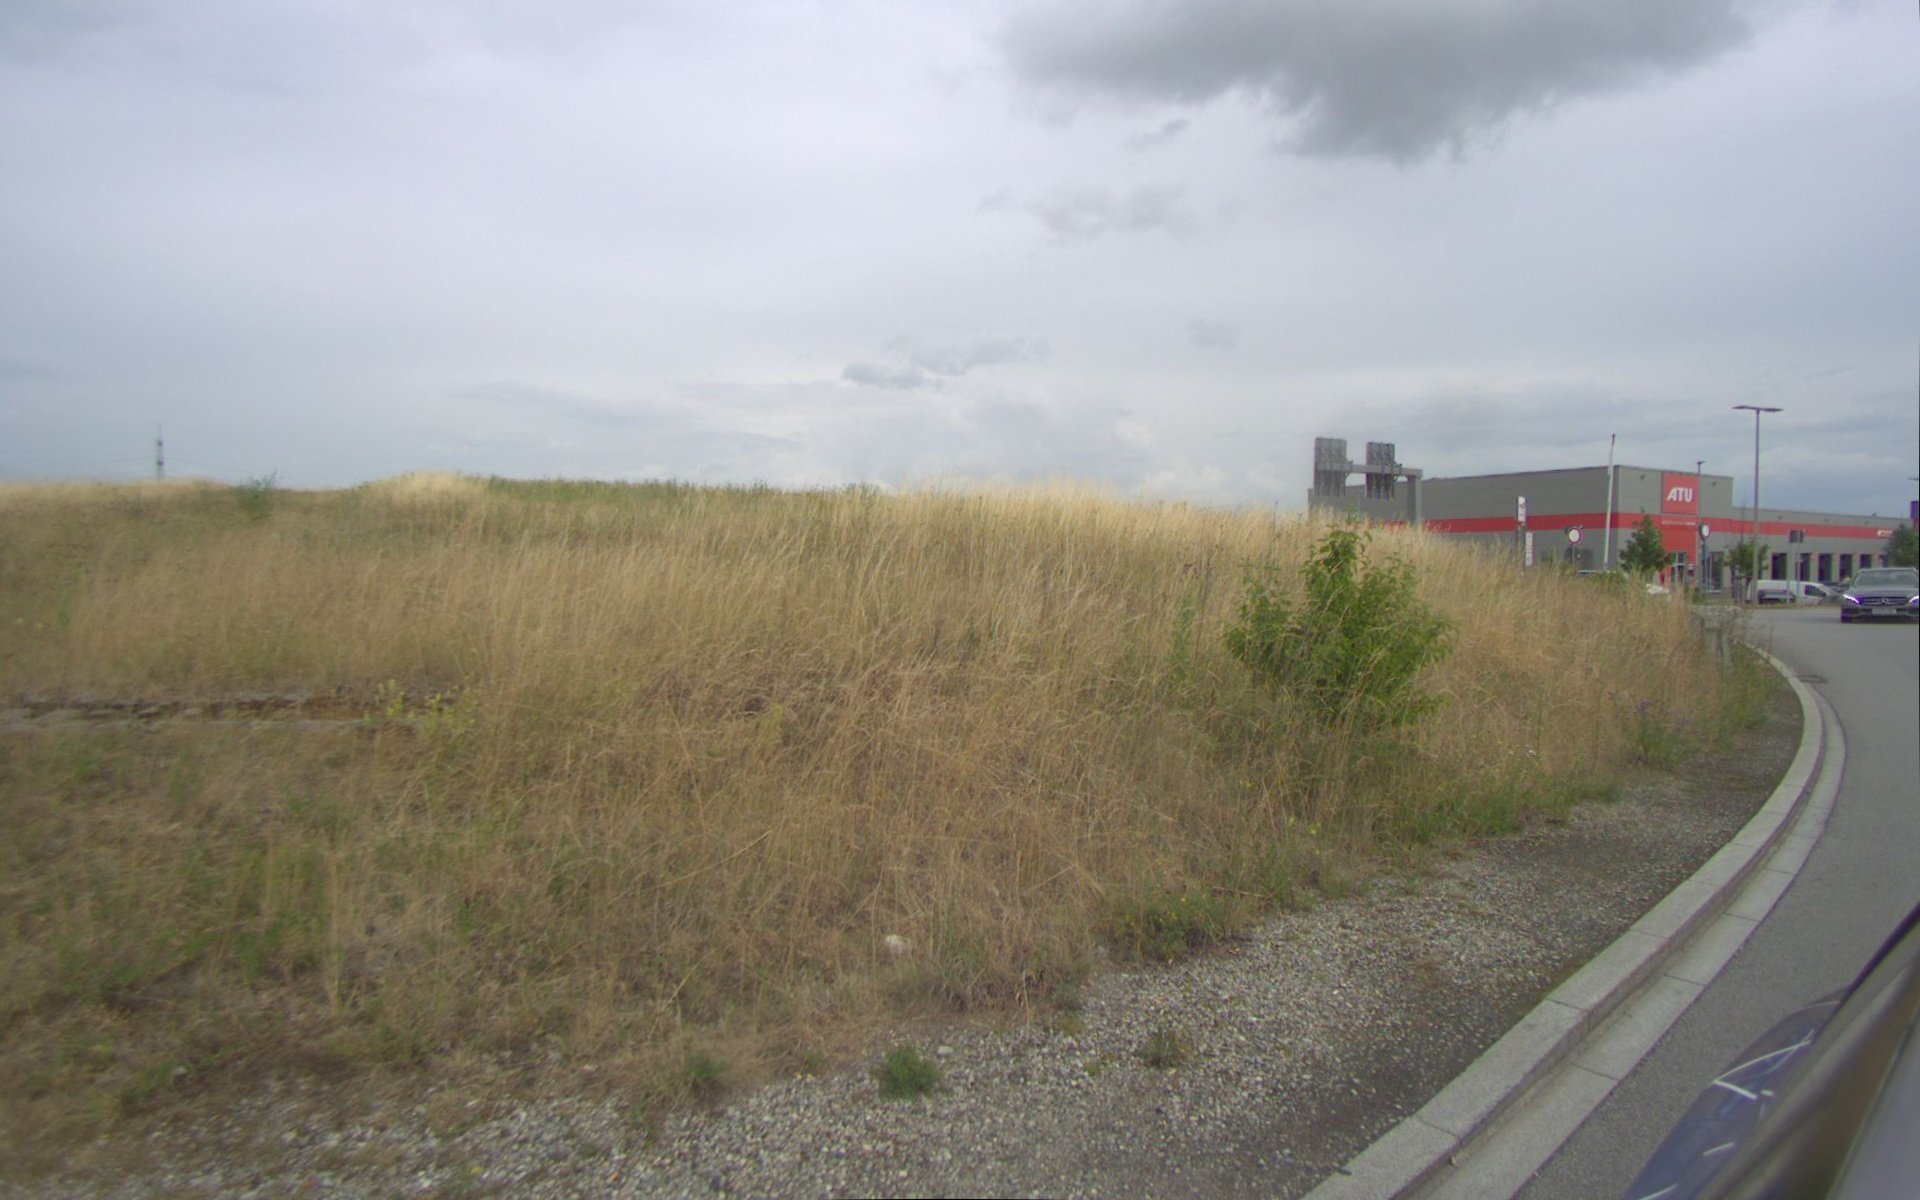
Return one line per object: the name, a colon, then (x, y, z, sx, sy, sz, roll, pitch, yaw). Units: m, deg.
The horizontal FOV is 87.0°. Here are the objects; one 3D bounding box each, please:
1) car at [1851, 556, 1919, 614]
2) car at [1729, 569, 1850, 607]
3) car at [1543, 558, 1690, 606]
car: (25.338, -0.400, 27.195, 4.024, 1.438, 1.761, -1, -1, -44)
car: (47.902, -0.729, 58.572, 1.962, 2.073, 5.079, -1, 1, -35)
car: (24.407, -0.681, 37.795, 1.747, 1.649, 4.437, -2, 2, -20)
